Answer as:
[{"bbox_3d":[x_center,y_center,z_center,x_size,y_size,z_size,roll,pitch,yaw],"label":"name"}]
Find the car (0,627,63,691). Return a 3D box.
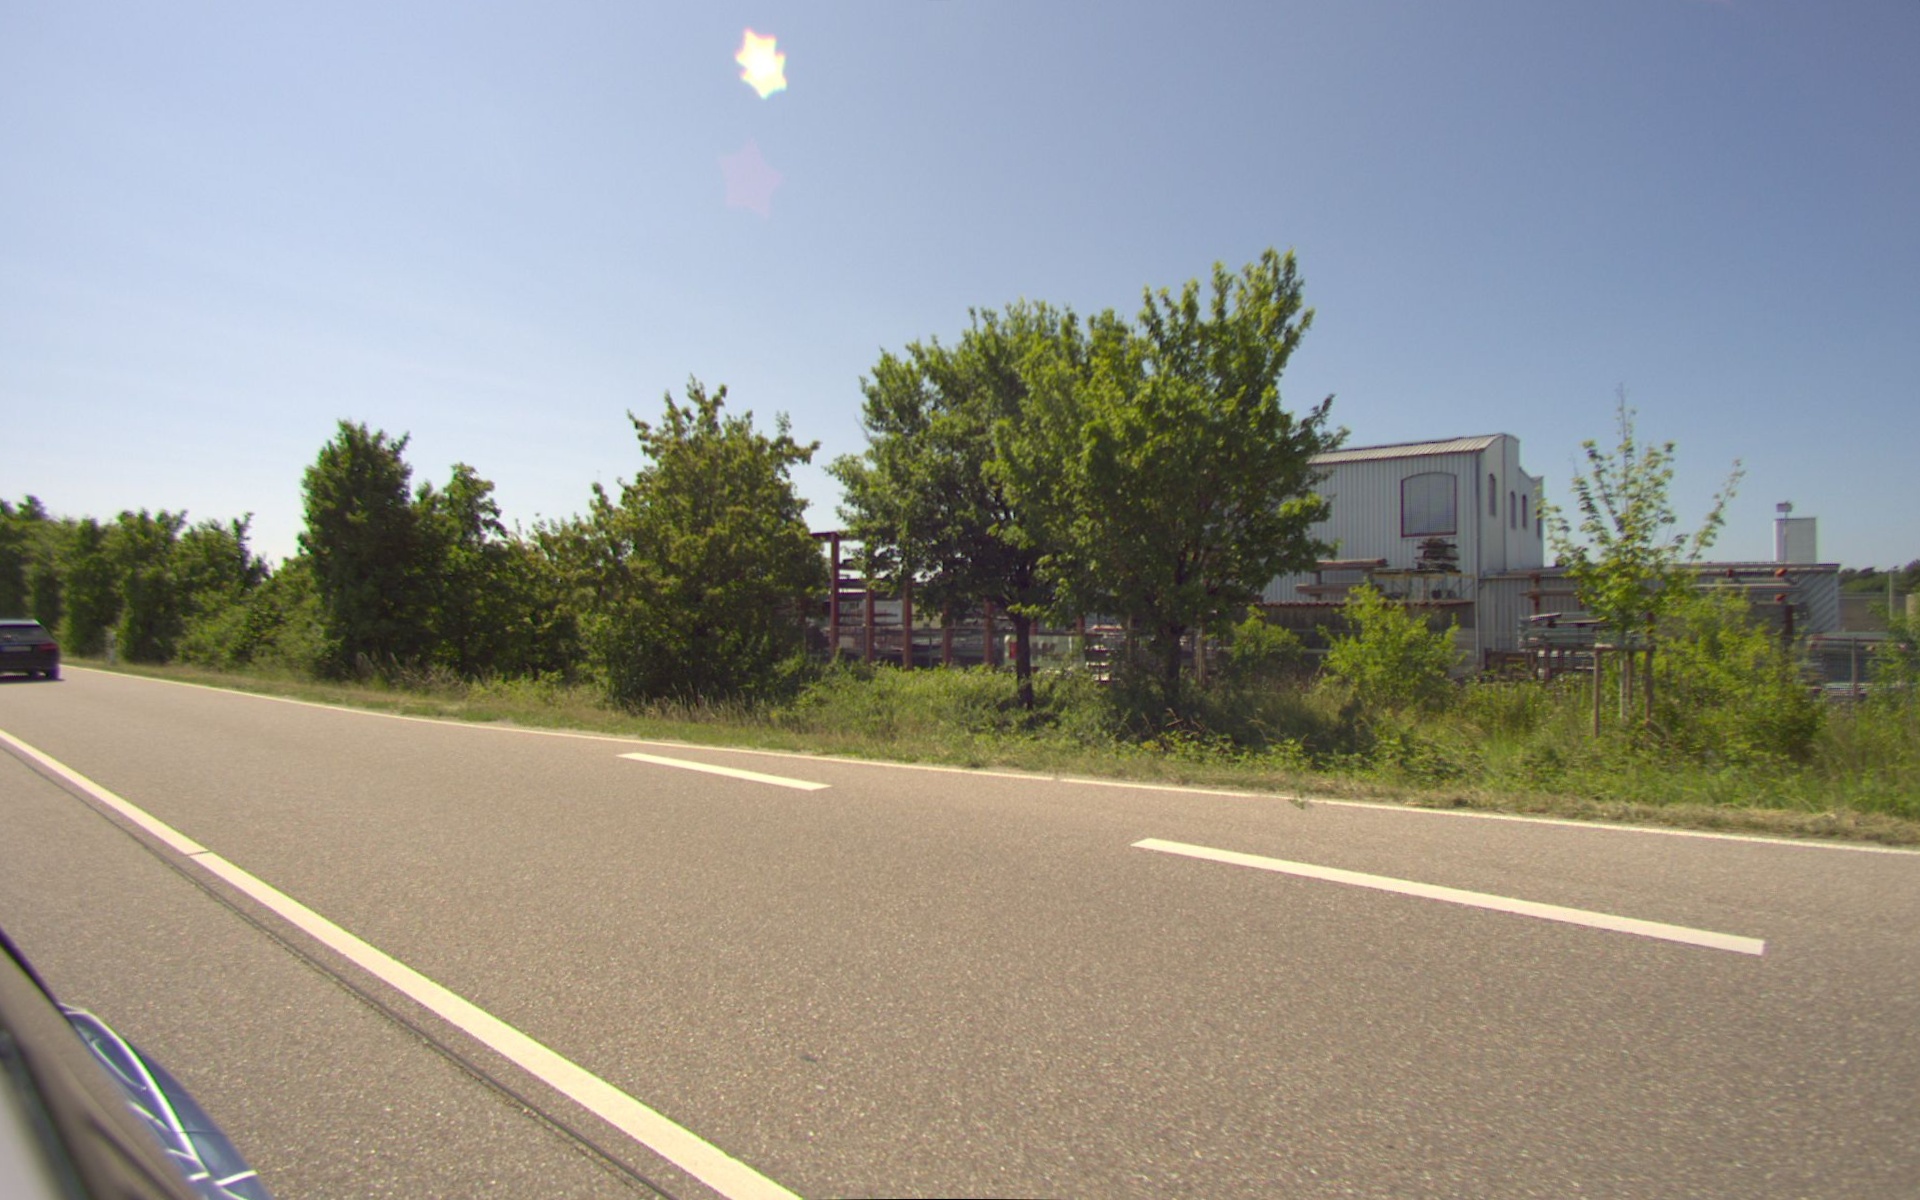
[{"bbox_3d":[-23.435,1.400,24.668,4.531,1.431,1.763,-1,-1,41],"label":"car"}]
